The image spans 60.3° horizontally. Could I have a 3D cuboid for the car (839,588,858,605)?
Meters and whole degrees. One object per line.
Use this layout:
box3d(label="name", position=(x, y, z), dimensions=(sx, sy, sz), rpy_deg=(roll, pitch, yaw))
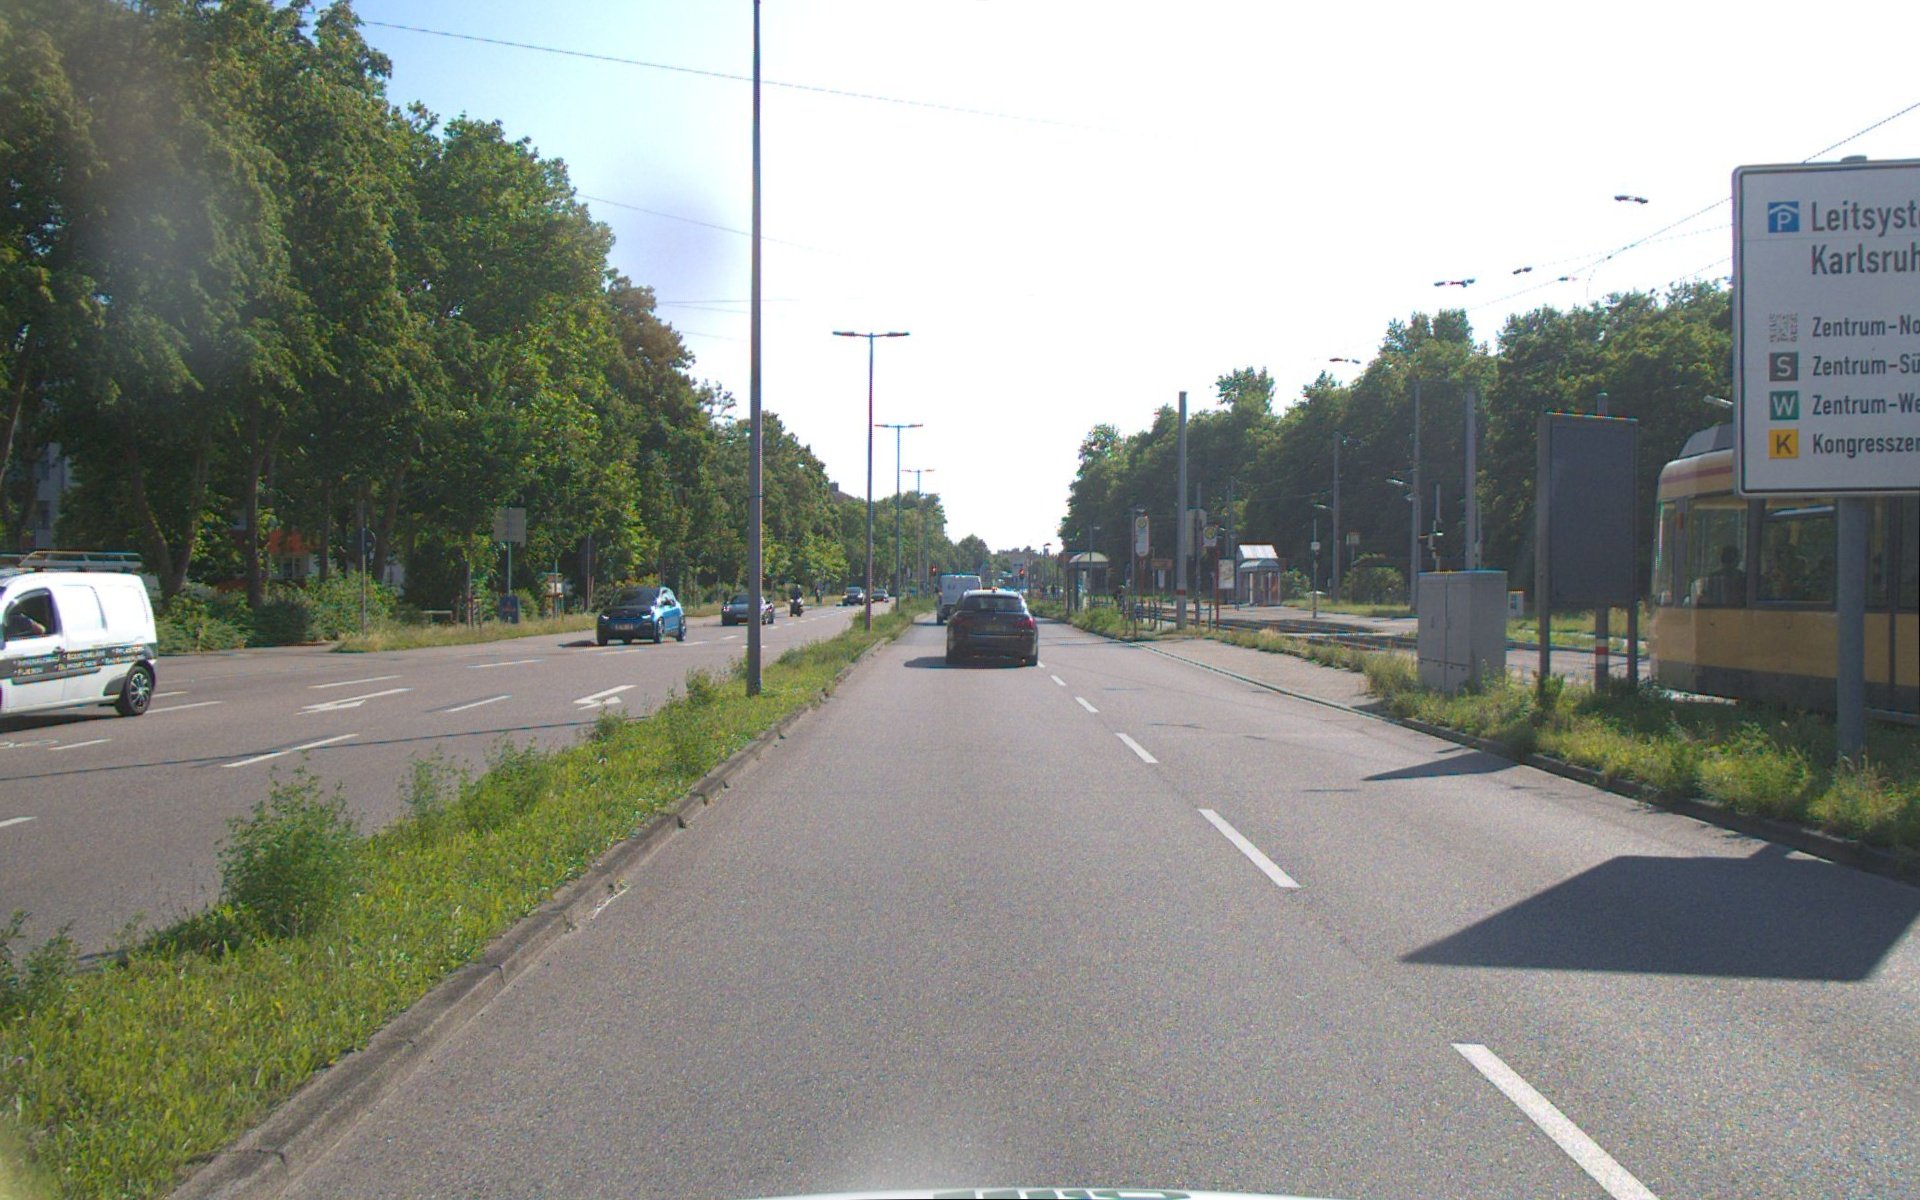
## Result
box3d(label="car", position=(-10.032, -0.342, 148.961), dimensions=(1.502, 1.512, 3.999), rpy_deg=(0, 0, -1))

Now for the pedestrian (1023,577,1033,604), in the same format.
box3d(label="pedestrian", position=(5.292, -0.728, 128.486), dimensions=(0.684, 2.049, 0.702), rpy_deg=(0, 0, -1))

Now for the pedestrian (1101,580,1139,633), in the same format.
box3d(label="pedestrian", position=(5.108, 0.206, 52.833), dimensions=(0.980, 1.663, 0.719), rpy_deg=(0, 1, 33))

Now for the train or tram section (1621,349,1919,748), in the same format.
box3d(label="train or tram section", position=(9.850, -0.447, 13.753), dimensions=(2.630, 3.541, 14.967), rpy_deg=(1, 0, 0))

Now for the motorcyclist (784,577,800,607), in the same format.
box3d(label="motorcyclist", position=(-9.048, -0.419, 89.032), dimensions=(0.747, 1.579, 0.799), rpy_deg=(0, 0, -1))

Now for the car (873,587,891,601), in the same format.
box3d(label="car", position=(-8.459, -0.653, 179.075), dimensions=(1.812, 1.579, 3.999), rpy_deg=(0, 0, -1))

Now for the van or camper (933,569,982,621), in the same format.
box3d(label="van or camper", position=(-0.115, -0.221, 69.503), dimensions=(1.953, 2.133, 4.598), rpy_deg=(0, 0, 0))

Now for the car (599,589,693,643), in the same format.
box3d(label="car", position=(-8.840, 0.404, 46.835), dimensions=(1.752, 1.440, 4.387), rpy_deg=(0, 1, 1))

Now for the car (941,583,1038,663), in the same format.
box3d(label="car", position=(0.626, 0.433, 33.877), dimensions=(1.864, 1.532, 4.066), rpy_deg=(0, 0, 1))

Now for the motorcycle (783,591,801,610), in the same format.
box3d(label="motorcycle", position=(-9.053, 0.026, 89.168), dimensions=(0.761, 0.965, 2.401), rpy_deg=(1, 0, 0))

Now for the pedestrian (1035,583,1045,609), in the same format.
box3d(label="pedestrian", position=(6.221, -0.312, 128.326), dimensions=(0.684, 2.049, 0.702), rpy_deg=(0, 0, -1))

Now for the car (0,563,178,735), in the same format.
box3d(label="car", position=(-10.904, 0.516, 18.658), dimensions=(1.751, 1.803, 4.572), rpy_deg=(-1, 1, 3))

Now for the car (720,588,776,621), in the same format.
box3d(label="car", position=(-8.850, 0.175, 69.417), dimensions=(1.752, 1.351, 4.736), rpy_deg=(0, 0, 0))
